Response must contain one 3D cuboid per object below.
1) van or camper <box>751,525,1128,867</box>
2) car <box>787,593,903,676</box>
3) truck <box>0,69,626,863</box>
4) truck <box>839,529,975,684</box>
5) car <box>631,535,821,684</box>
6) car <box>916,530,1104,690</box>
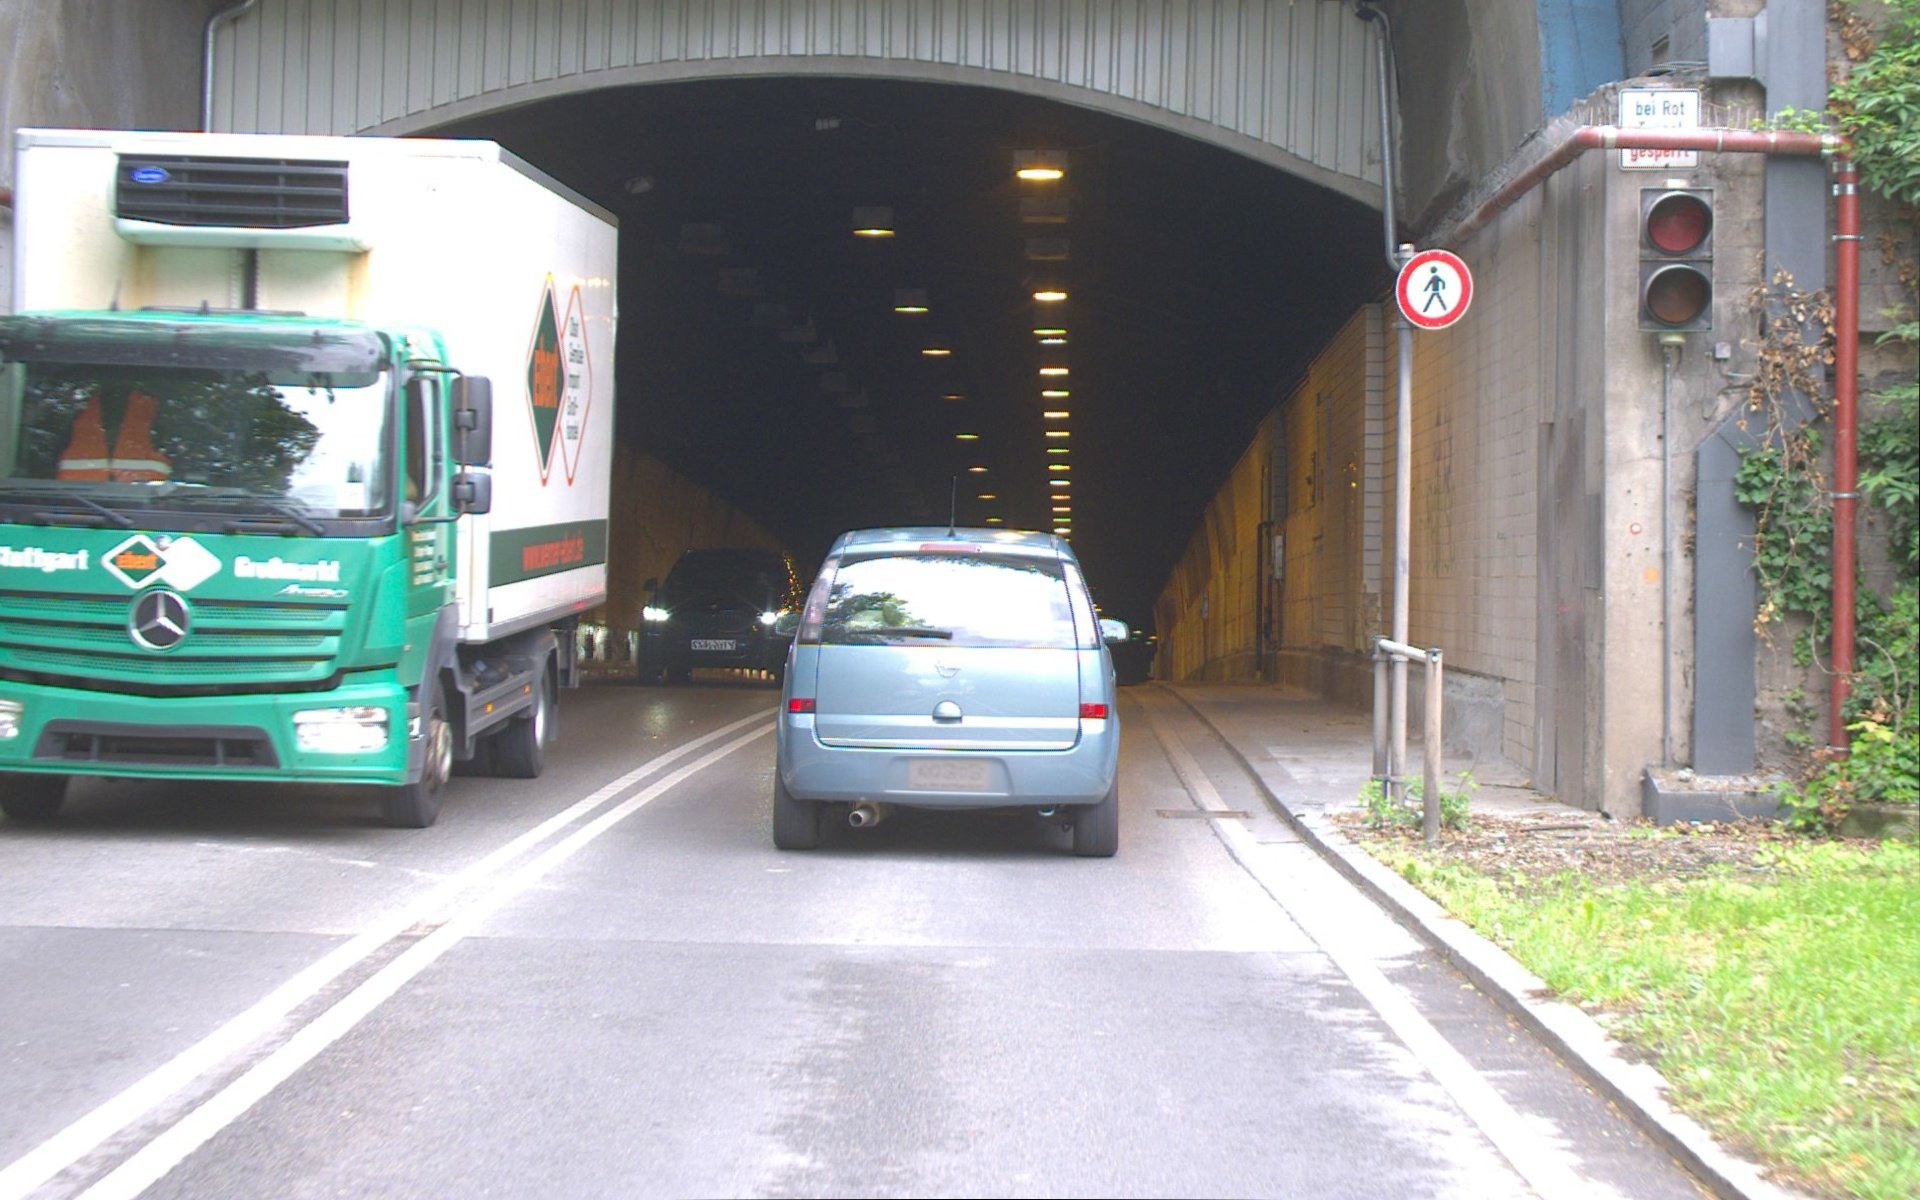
[{"bbox_3d":[-0.075,0.420,17.827,1.735,1.572,3.646,1,1,1],"label":"van or camper"},{"bbox_3d":[-2.156,0.674,65.534,1.893,1.464,4.160,2,-1,2],"label":"car"},{"bbox_3d":[-3.711,-0.685,19.777,2.675,3.654,7.518,1,1,1],"label":"truck"},{"bbox_3d":[-1.318,0.253,89.697,2.814,3.703,7.543,1,-2,4],"label":"truck"},{"bbox_3d":[-2.789,0.094,41.865,1.879,1.670,4.377,1,0,1],"label":"car"},{"bbox_3d":[0.624,0.066,39.375,1.994,1.647,4.000,0,2,3],"label":"car"}]
